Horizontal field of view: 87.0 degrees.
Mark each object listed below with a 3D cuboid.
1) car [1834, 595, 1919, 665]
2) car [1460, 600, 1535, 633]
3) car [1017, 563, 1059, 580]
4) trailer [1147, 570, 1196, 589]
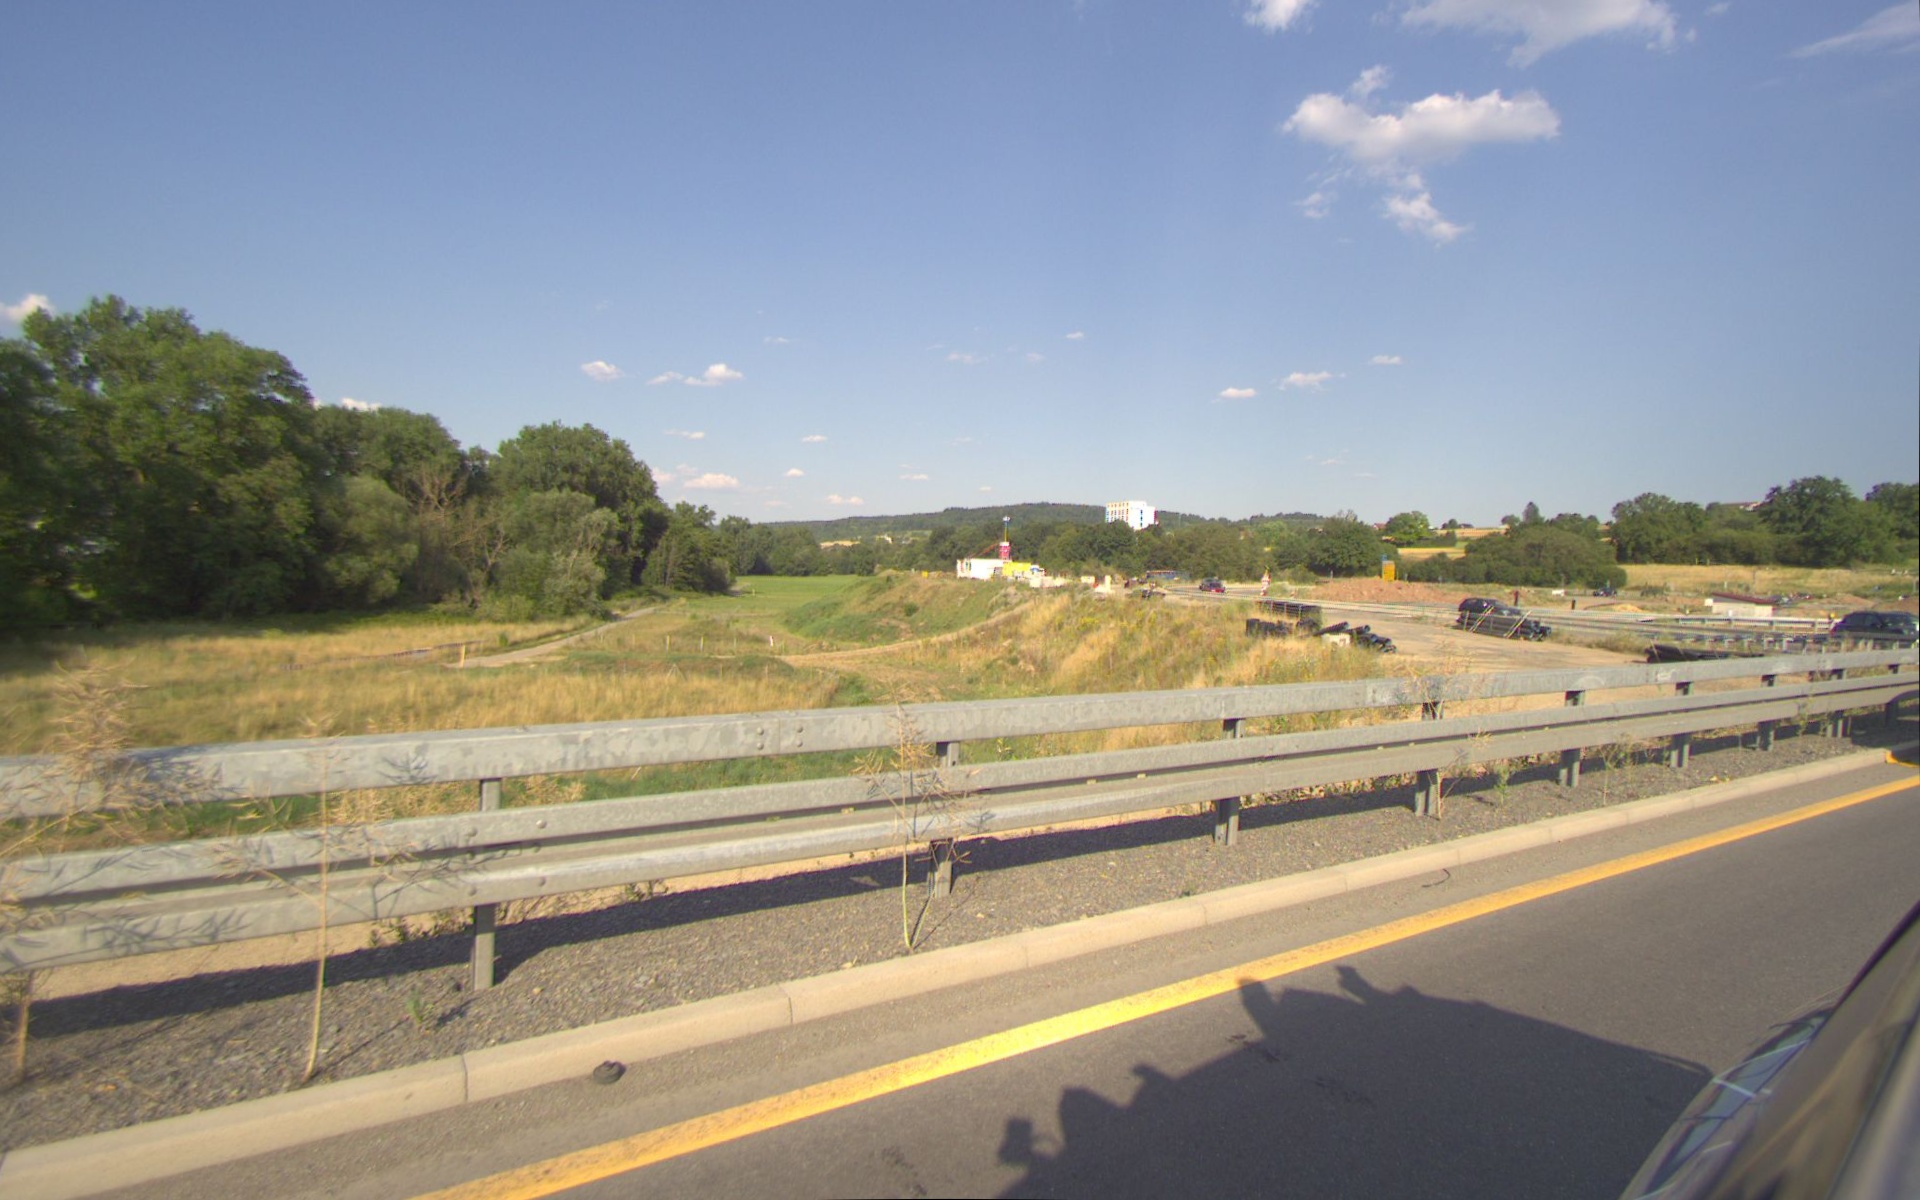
[{"bbox_3d":[36.518,1.144,39.158,1.842,2.432,4.000,2,3,2],"label":"car"},{"bbox_3d":[34.905,1.038,65.866,1.603,1.808,4.137,1,3,-25],"label":"car"},{"bbox_3d":[10.912,-4.011,141.983,5.208,2.104,2.494,1,3,-21],"label":"car"},{"bbox_3d":[28.964,-2.853,138.608,7.105,2.443,3.009,-1,3,-42],"label":"trailer"}]
